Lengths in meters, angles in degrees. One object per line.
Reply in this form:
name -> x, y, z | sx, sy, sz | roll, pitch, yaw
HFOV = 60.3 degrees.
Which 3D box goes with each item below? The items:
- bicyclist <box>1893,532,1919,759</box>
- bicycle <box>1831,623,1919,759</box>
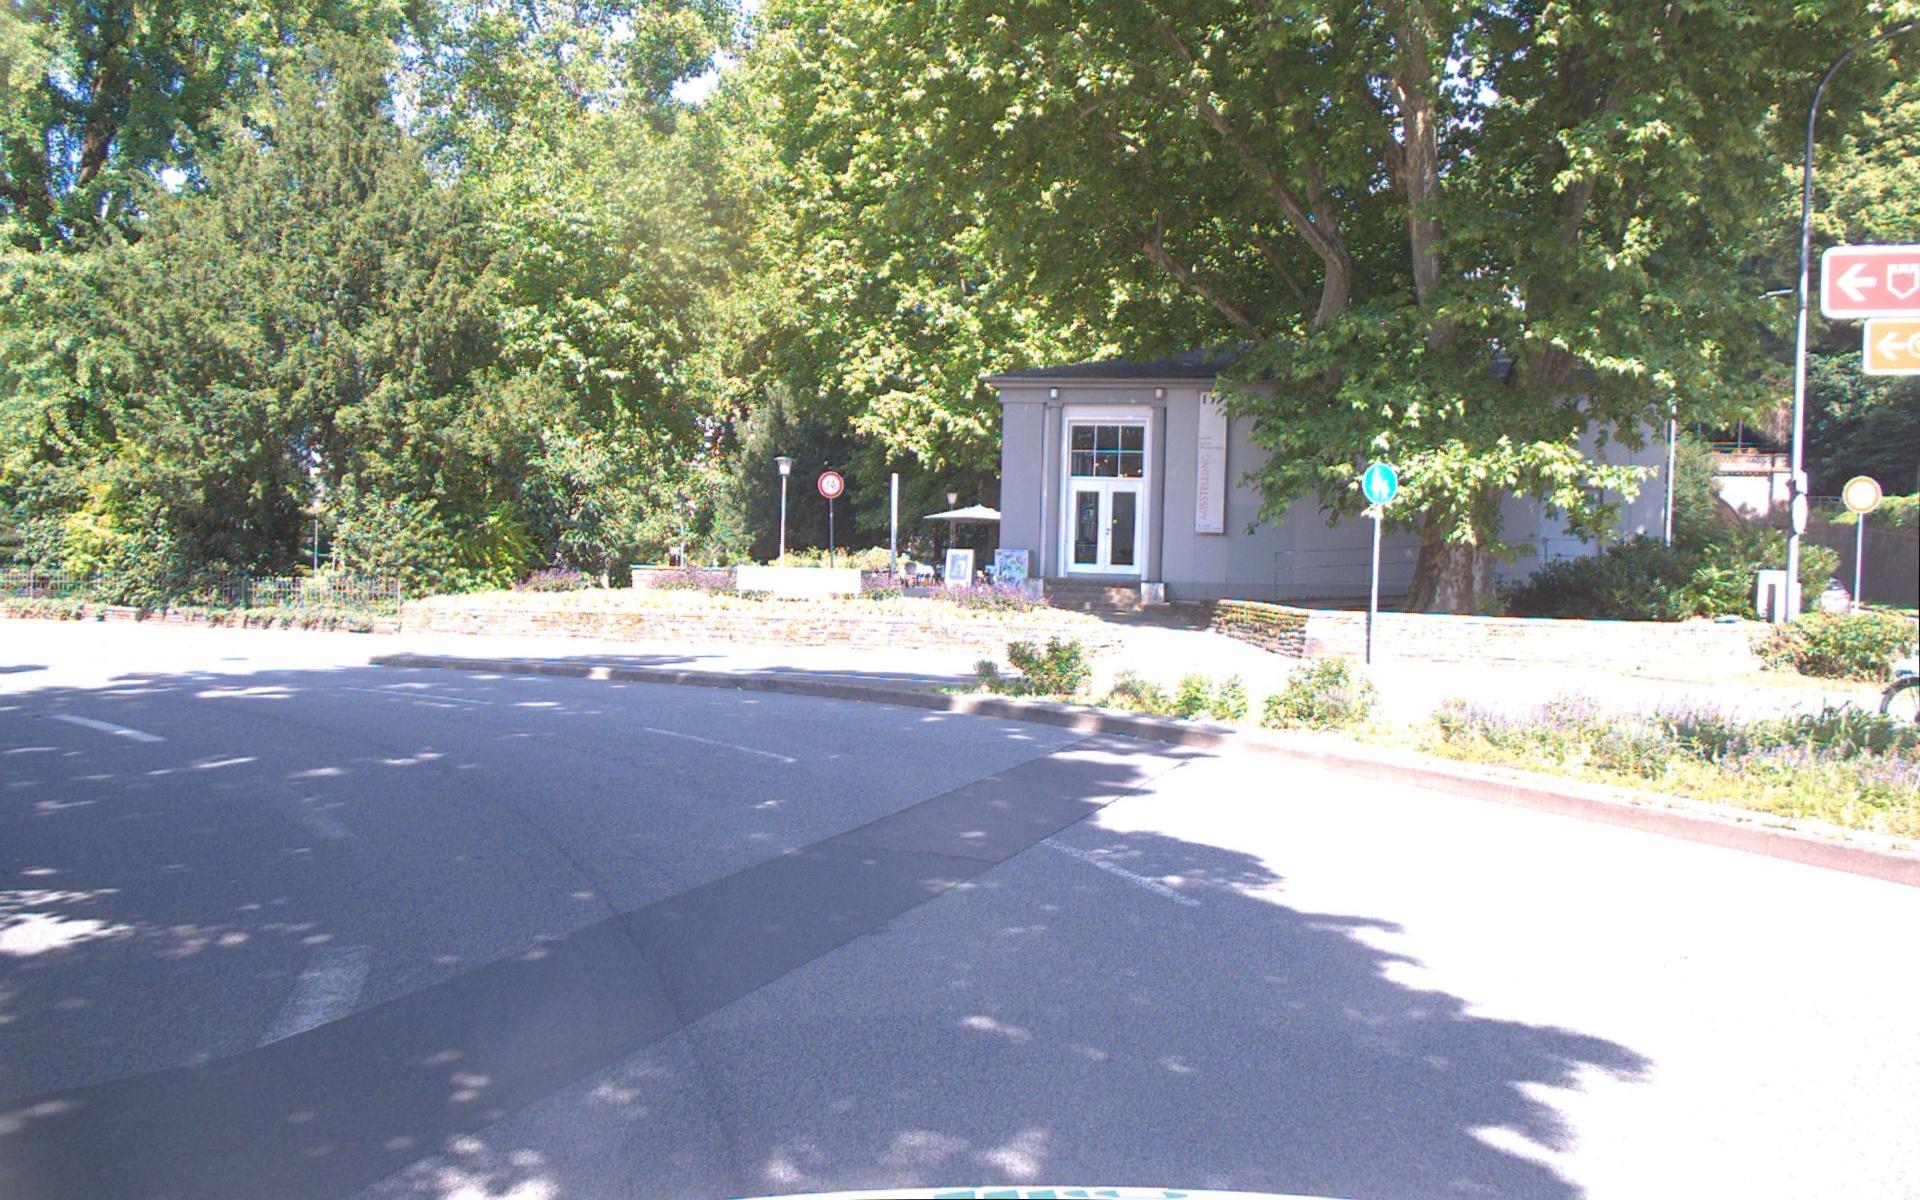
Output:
bicyclist -> 8.820, 0.407, 14.287 | 0.742, 1.966, 1.112 | 1, 1, -43
bicycle -> 8.782, 0.817, 14.322 | 0.751, 1.132, 2.050 | 0, 2, -43
